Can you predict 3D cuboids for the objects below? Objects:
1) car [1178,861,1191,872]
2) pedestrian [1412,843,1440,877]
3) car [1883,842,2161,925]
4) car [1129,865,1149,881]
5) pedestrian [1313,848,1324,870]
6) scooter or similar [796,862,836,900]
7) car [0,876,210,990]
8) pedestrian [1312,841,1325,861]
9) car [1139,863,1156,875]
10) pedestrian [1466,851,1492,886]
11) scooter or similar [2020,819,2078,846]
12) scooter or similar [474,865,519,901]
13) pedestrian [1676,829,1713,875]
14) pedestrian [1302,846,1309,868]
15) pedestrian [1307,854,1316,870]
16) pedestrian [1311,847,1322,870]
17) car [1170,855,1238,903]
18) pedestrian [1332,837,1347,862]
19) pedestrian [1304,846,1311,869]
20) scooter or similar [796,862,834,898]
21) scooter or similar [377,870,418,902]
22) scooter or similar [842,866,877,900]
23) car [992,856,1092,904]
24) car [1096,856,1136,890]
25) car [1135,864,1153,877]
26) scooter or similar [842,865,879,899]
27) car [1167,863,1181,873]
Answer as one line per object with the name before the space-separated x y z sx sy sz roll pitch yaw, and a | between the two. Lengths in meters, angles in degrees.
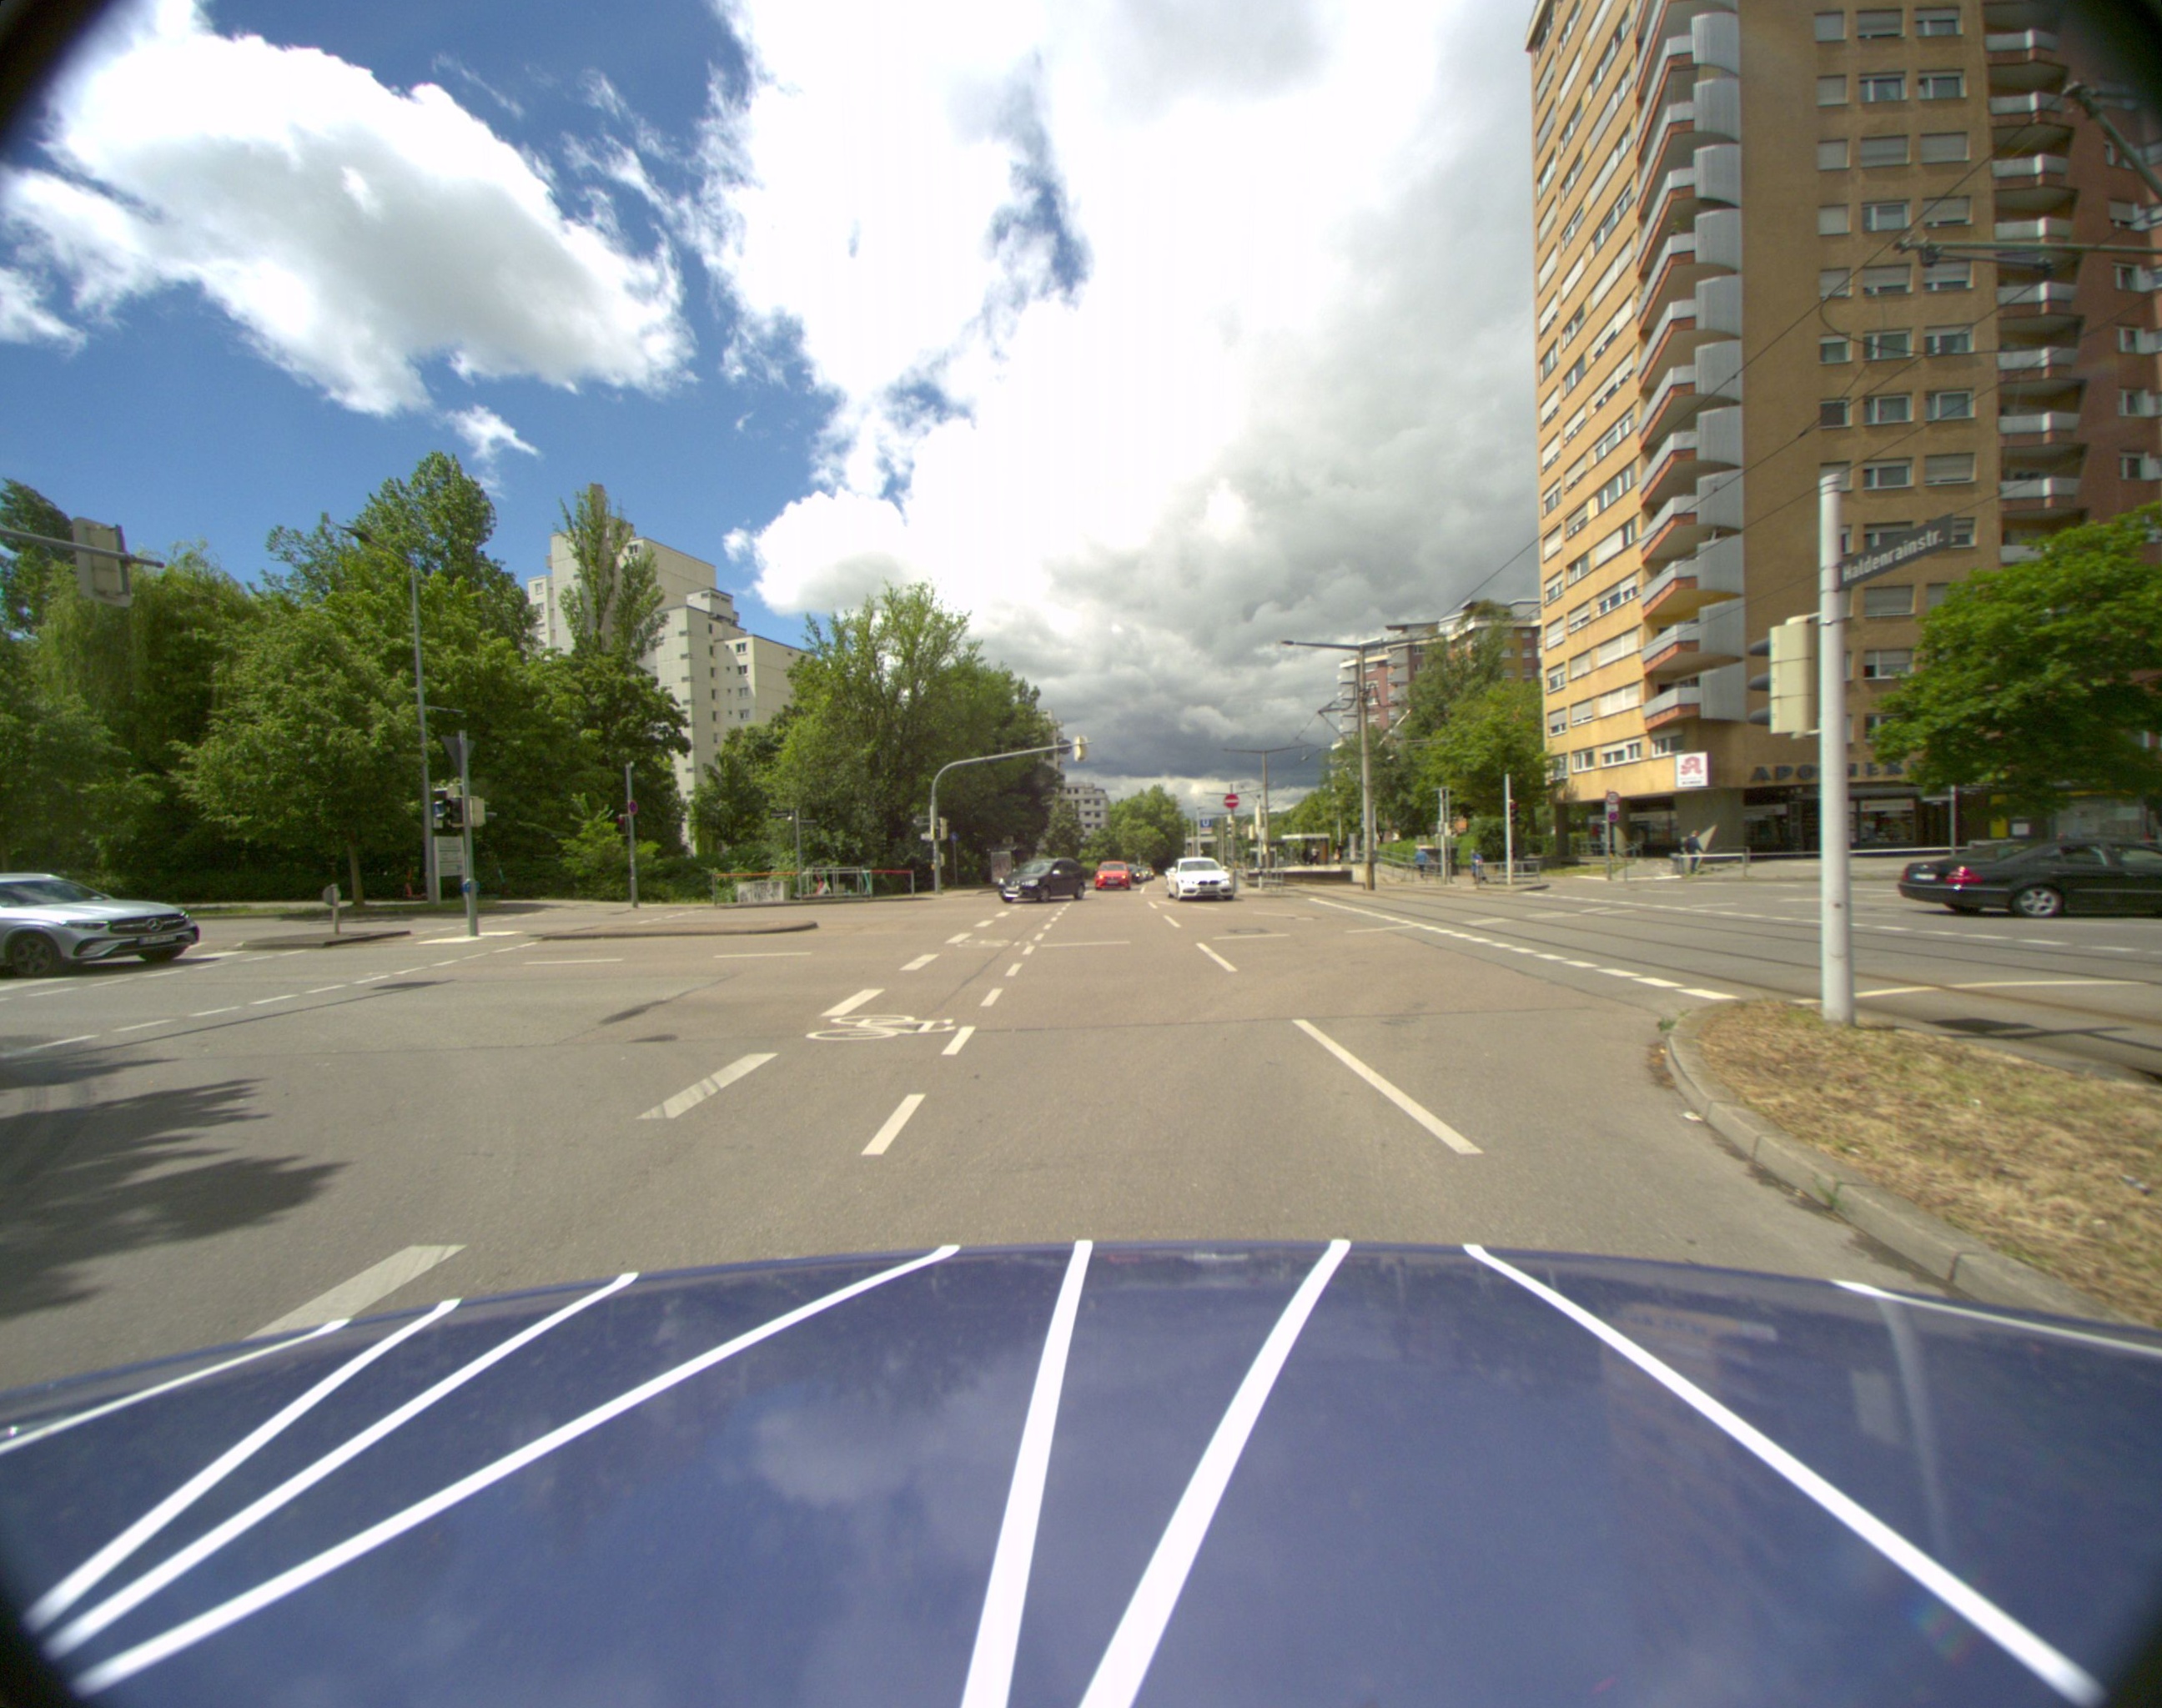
car | 20.815 2.436 152.727 1.998 2.136 4.000 -1 0 1
pedestrian | 17.339 0.293 38.200 0.910 1.588 0.721 -6 0 4
car | 18.325 0.505 13.883 4.664 1.390 1.980 -1 0 20
car | 4.796 1.569 62.736 1.605 1.207 3.773 -1 0 4
pedestrian | 20.406 0.415 65.388 0.770 1.920 0.573 -1 0 3
scooter or similar | -8.888 0.878 25.448 1.212 1.228 0.478 -1 0 -23
car | -17.836 1.260 12.442 4.654 1.583 1.922 -1 3 -3
pedestrian | 19.135 -0.227 61.255 0.865 1.597 0.747 -1 0 4
car | 8.130 1.782 92.514 1.844 1.409 4.003 -1 0 8
pedestrian | 17.625 0.638 33.651 0.721 1.504 0.648 -1 0 -11
scooter or similar | 41.045 -0.911 32.218 1.751 1.087 0.545 -1 0 0
scooter or similar | -20.045 0.991 26.054 1.174 1.175 0.523 -1 0 9
pedestrian | 26.238 -0.096 32.502 0.920 1.923 0.854 -1 0 4
pedestrian | 20.852 0.292 70.479 0.517 2.002 0.558 -1 0 5
pedestrian | 20.511 0.699 67.532 0.645 1.406 0.658 -1 0 5
pedestrian | 20.436 0.392 66.027 0.780 2.002 0.584 -1 0 5
car | 4.094 0.799 25.831 1.793 1.442 4.277 -2 -1 3
pedestrian | 18.985 -0.326 55.809 0.865 1.763 0.747 -1 0 4
pedestrian | 20.797 0.338 69.830 0.532 2.129 0.608 -1 0 8
scooter or similar | -9.267 0.898 26.499 1.185 1.228 0.479 -1 0 -8
scooter or similar | -23.165 1.074 25.746 1.113 1.067 0.411 -1 0 9
scooter or similar | -9.242 1.216 31.718 1.212 1.284 0.534 -4 -2 -29
car | -1.285 0.868 26.664 1.678 1.529 3.800 -1 0 30
car | 1.698 0.902 38.143 1.819 1.483 4.000 -4 1 1
car | 6.174 1.593 74.244 1.605 1.207 3.773 -1 0 6
scooter or similar | -7.916 0.986 27.236 1.170 1.188 0.449 -1 0 9
car | 12.949 1.907 105.311 1.804 1.207 4.024 -1 0 9
